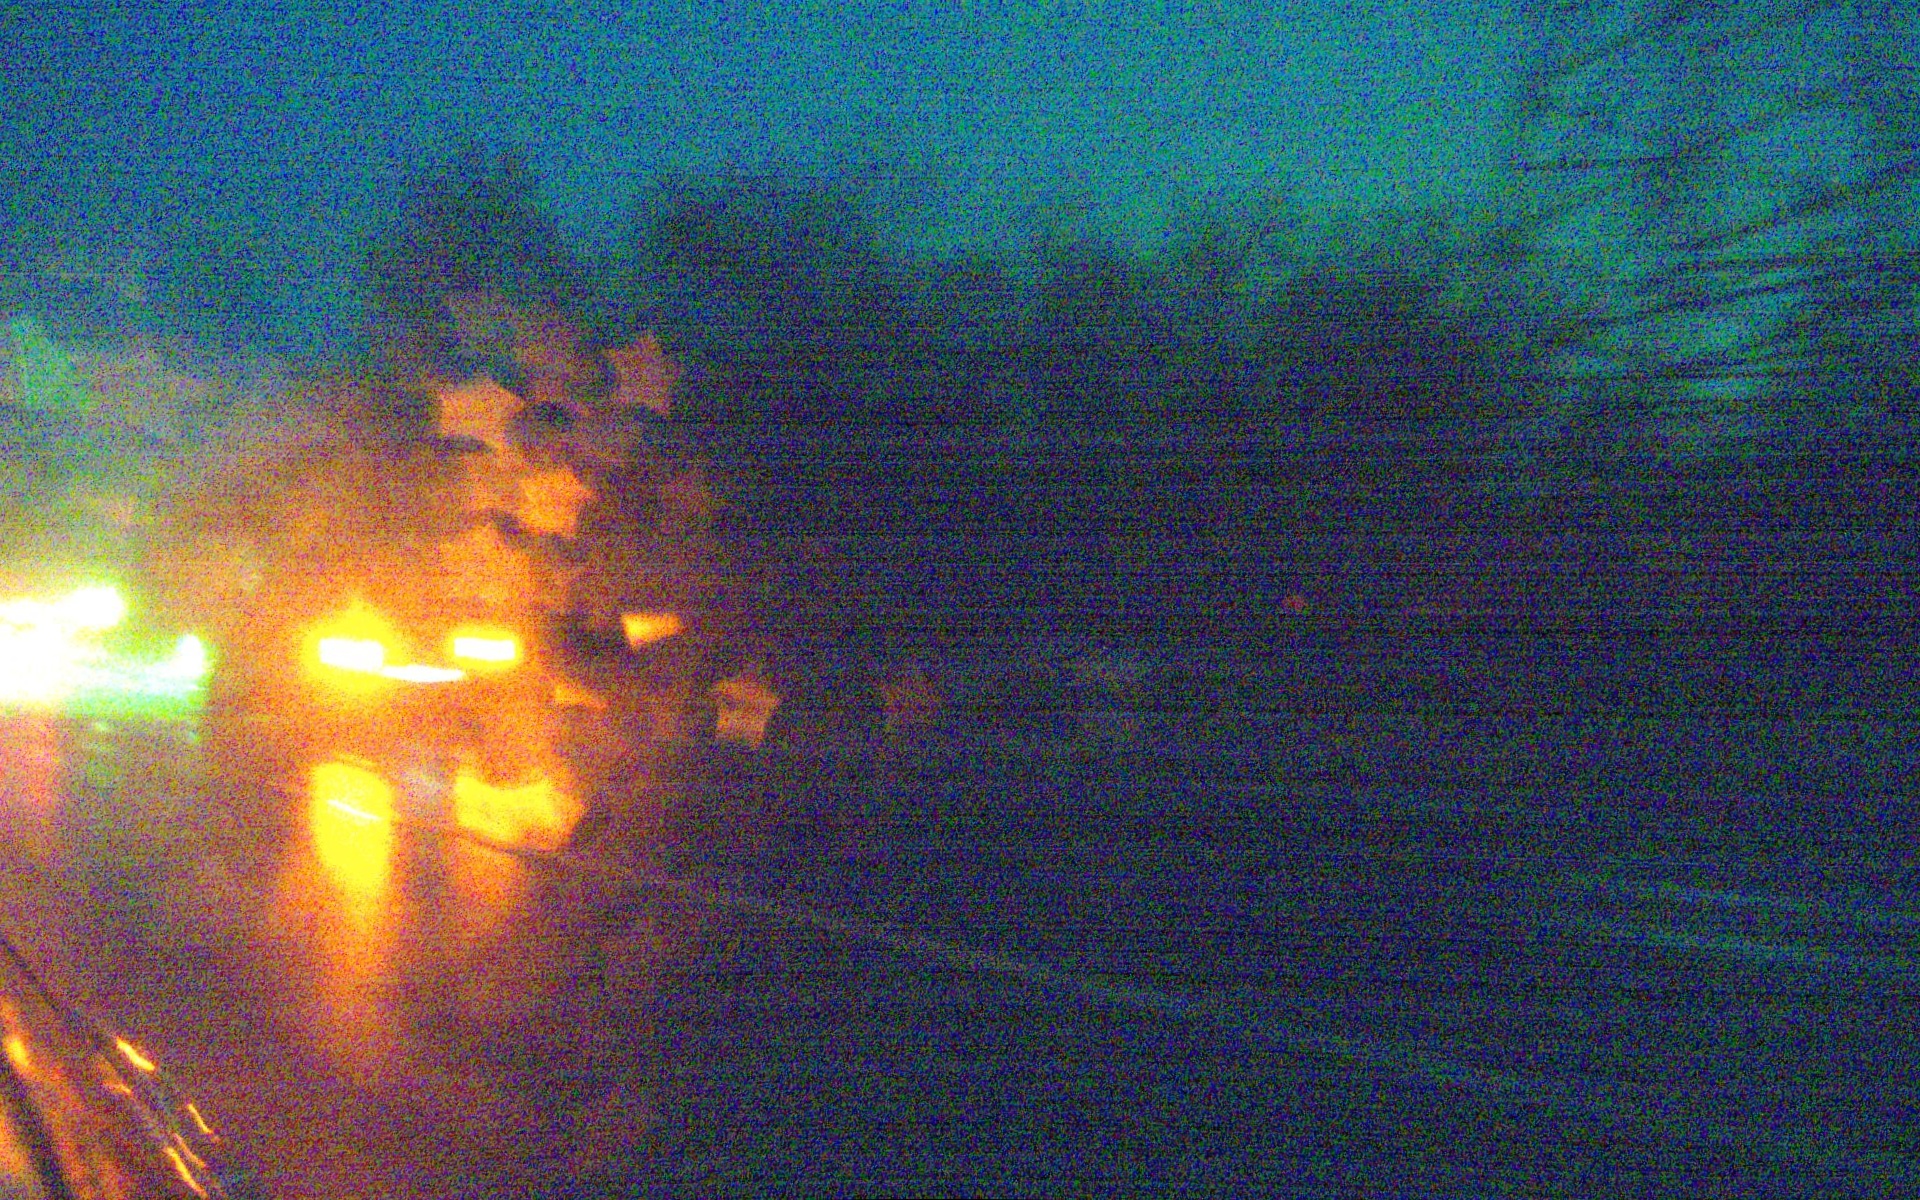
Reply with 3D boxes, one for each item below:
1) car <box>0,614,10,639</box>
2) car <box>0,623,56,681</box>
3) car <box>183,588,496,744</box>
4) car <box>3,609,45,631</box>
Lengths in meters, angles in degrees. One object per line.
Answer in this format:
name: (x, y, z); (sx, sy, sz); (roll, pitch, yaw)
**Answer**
car: (-58.013, 1.580, 60.479); (1.750, 1.399, 4.117); (0, 0, -43)
car: (-25.804, 1.354, 27.117); (4.032, 1.399, 1.754); (0, 0, 39)
car: (-8.491, 0.755, 13.674); (4.952, 1.760, 1.843); (0, 0, 36)
car: (-68.878, 1.439, 74.532); (1.748, 1.495, 4.391); (0, 0, -36)
